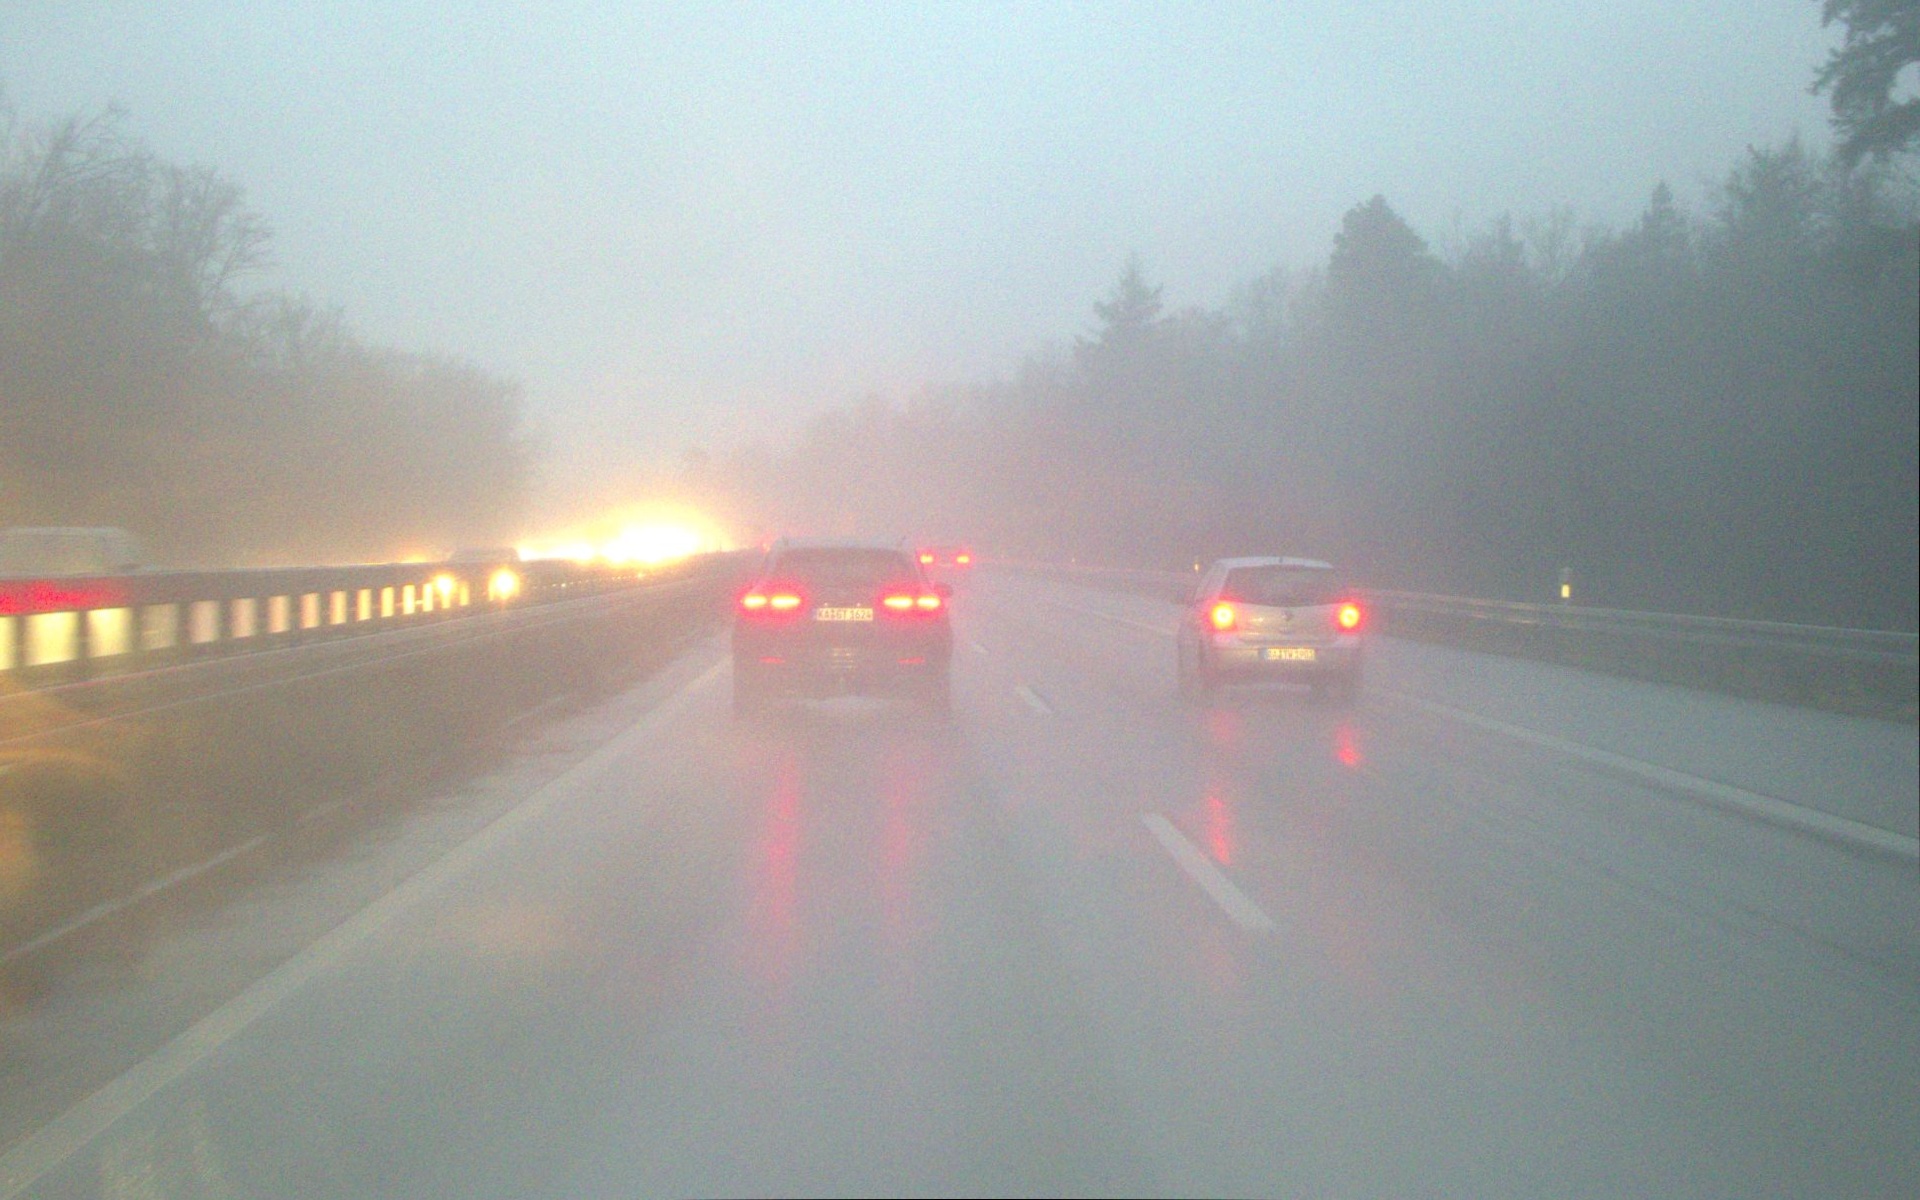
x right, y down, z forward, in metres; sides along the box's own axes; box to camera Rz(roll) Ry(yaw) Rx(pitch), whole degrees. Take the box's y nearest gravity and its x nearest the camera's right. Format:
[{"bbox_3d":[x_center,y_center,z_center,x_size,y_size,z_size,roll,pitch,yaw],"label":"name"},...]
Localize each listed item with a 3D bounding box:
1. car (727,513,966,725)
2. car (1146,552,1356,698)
[{"bbox_3d":[-1.017,0.118,30.925,1.986,1.761,4.174,0,1,-2],"label":"car"},{"bbox_3d":[3.011,0.229,36.168,1.780,1.432,3.537,1,1,-2],"label":"car"}]
